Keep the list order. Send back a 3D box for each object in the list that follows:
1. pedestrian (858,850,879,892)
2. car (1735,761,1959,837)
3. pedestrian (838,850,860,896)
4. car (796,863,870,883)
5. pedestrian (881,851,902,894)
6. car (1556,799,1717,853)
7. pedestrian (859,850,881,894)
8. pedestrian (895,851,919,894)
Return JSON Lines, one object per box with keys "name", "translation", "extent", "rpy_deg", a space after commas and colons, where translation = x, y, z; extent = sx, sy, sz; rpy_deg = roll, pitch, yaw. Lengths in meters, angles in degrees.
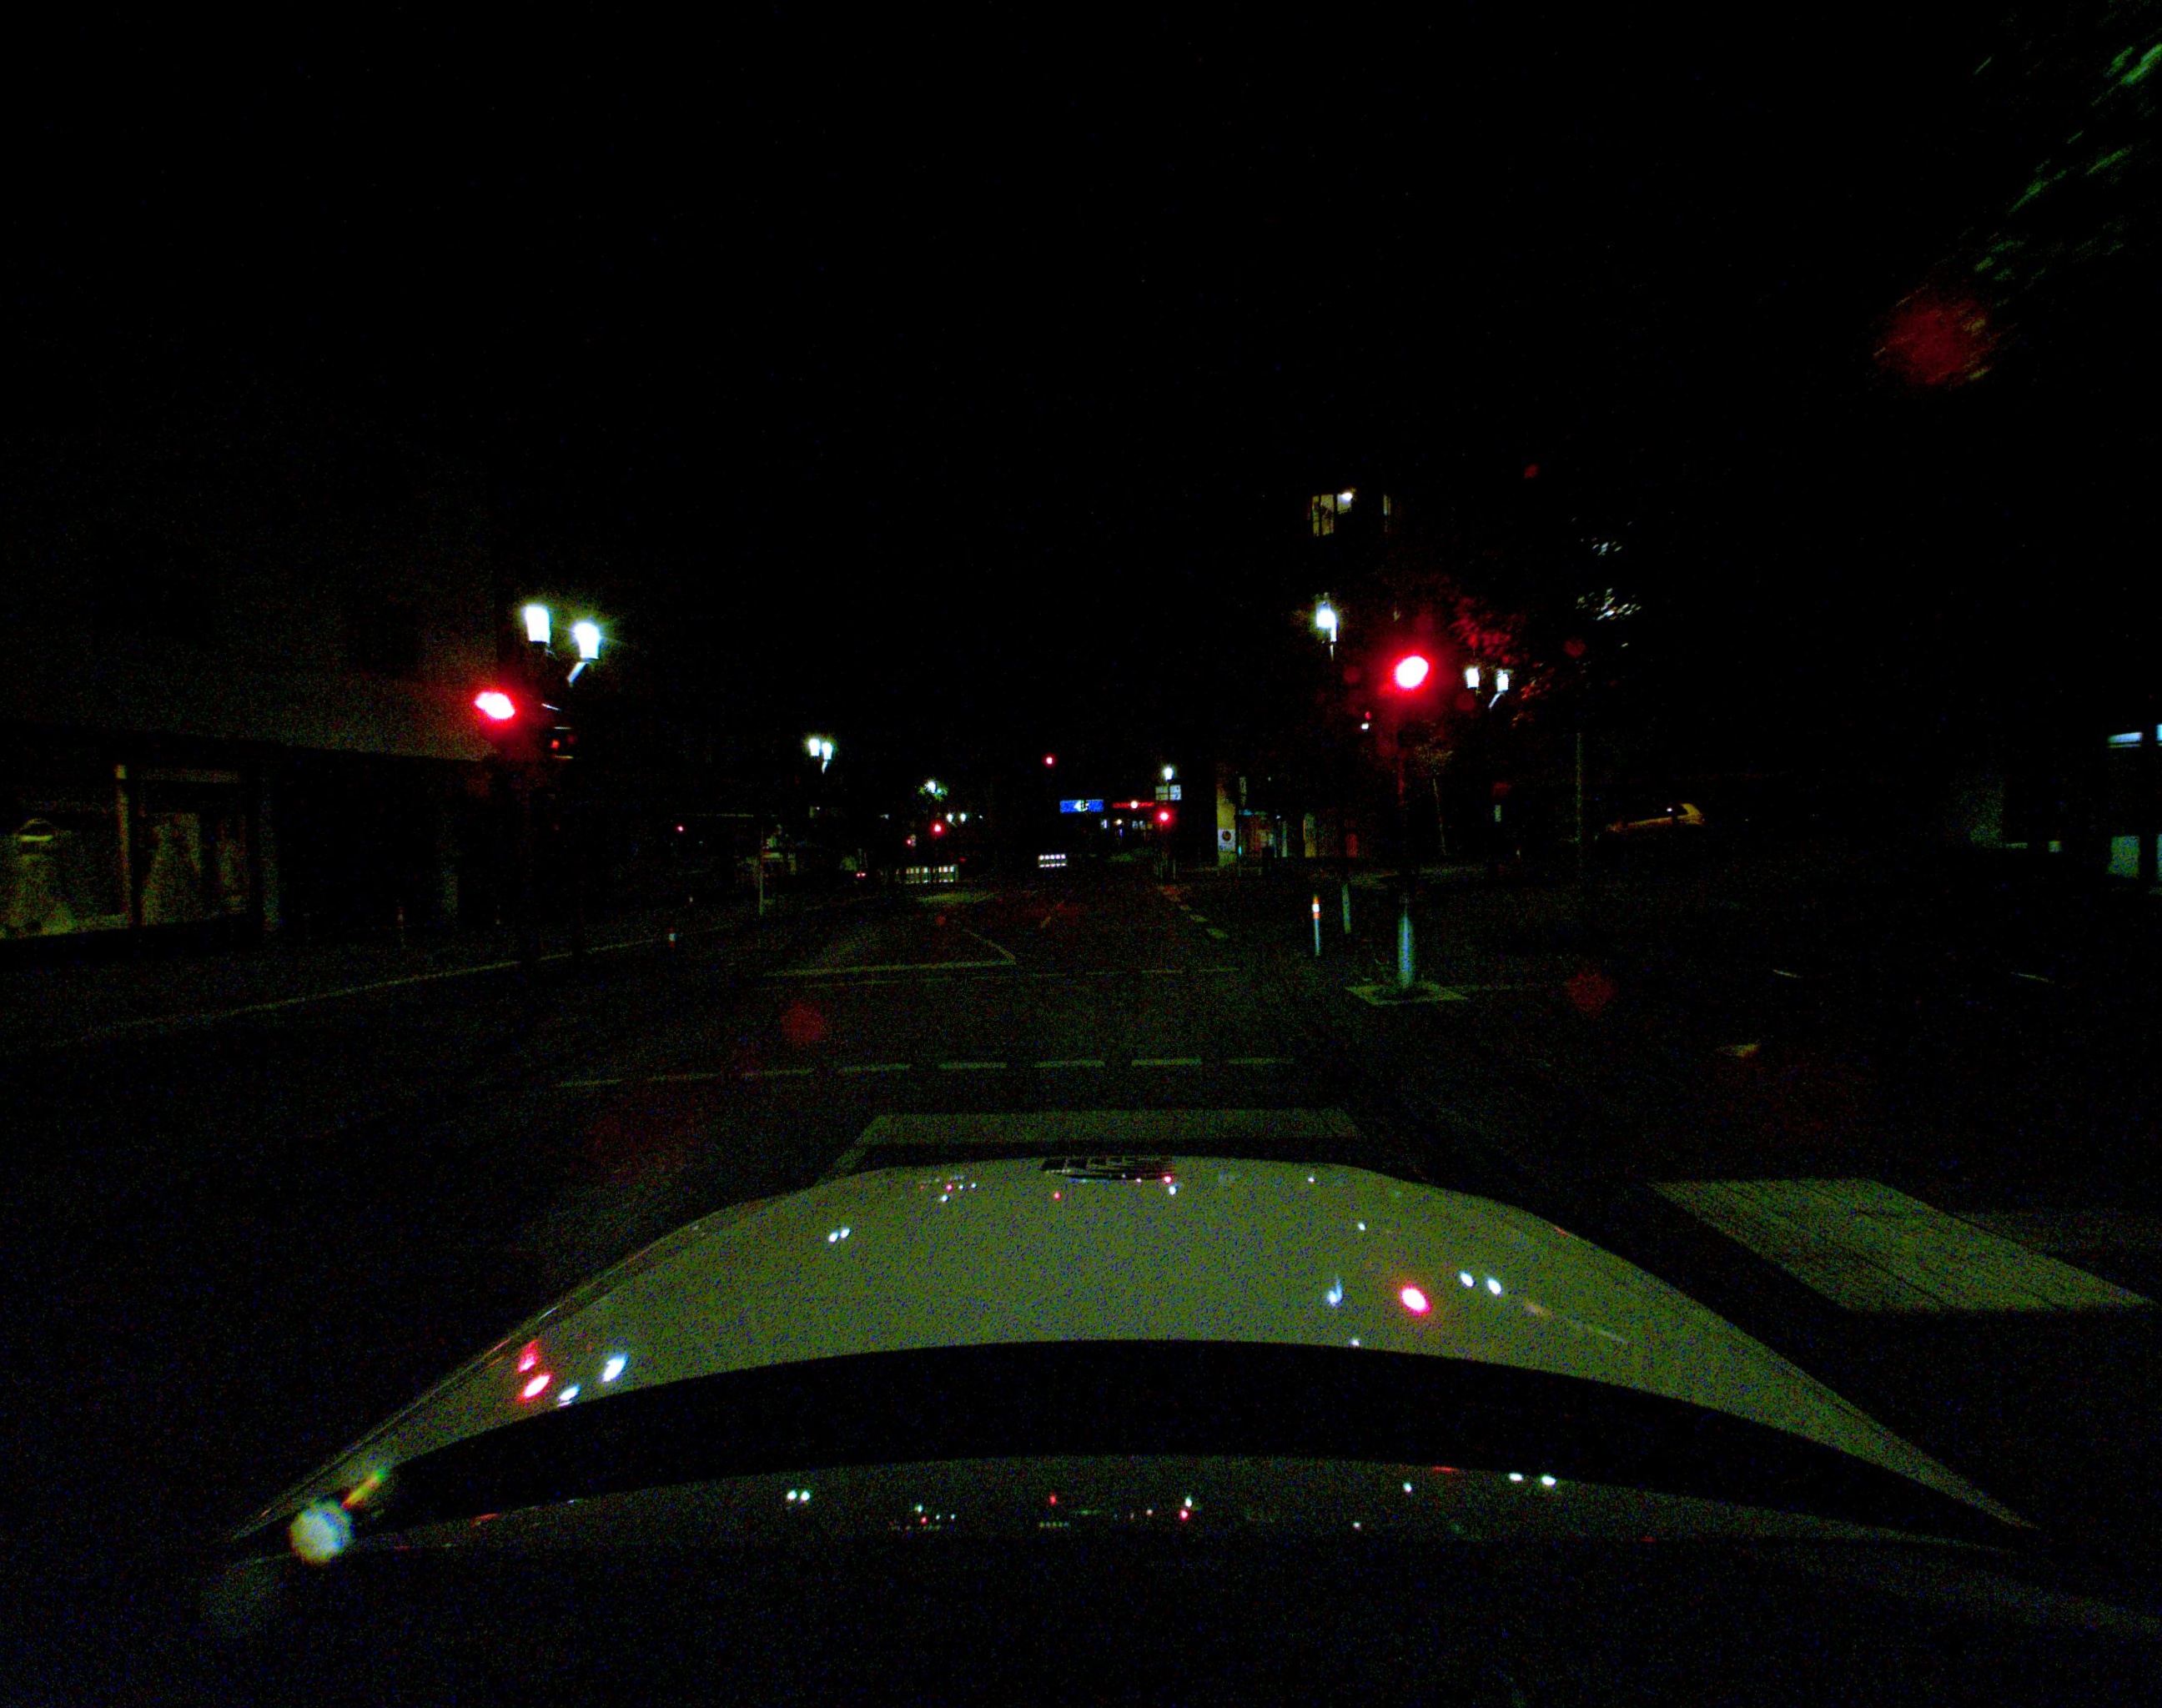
{"name": "pedestrian", "translation": [-9.226, 0.752, 35.363], "extent": [0.712, 1.795, 0.571], "rpy_deg": [-1, -2, 8]}
{"name": "car", "translation": [23.365, -1.601, 25.189], "extent": [4.783, 1.910, 2.172], "rpy_deg": [-2, -2, 37]}
{"name": "pedestrian", "translation": [-9.324, 0.760, 32.715], "extent": [0.714, 1.795, 0.569], "rpy_deg": [0, -2, -3]}
{"name": "car", "translation": [-16.526, 1.263, 54.460], "extent": [4.406, 1.297, 1.640], "rpy_deg": [-1, -2, -2]}
{"name": "pedestrian", "translation": [-8.077, 0.791, 34.730], "extent": [0.712, 1.795, 0.571], "rpy_deg": [-1, -2, 8]}
{"name": "car", "translation": [18.534, -0.906, 27.334], "extent": [4.019, 1.452, 1.830], "rpy_deg": [-4, 0, 8]}
{"name": "pedestrian", "translation": [-8.891, 0.761, 34.293], "extent": [0.712, 1.795, 0.571], "rpy_deg": [-1, -2, 8]}
{"name": "pedestrian", "translation": [-7.381, 0.803, 34.543], "extent": [0.709, 1.795, 0.741], "rpy_deg": [-2, -2, 30]}
